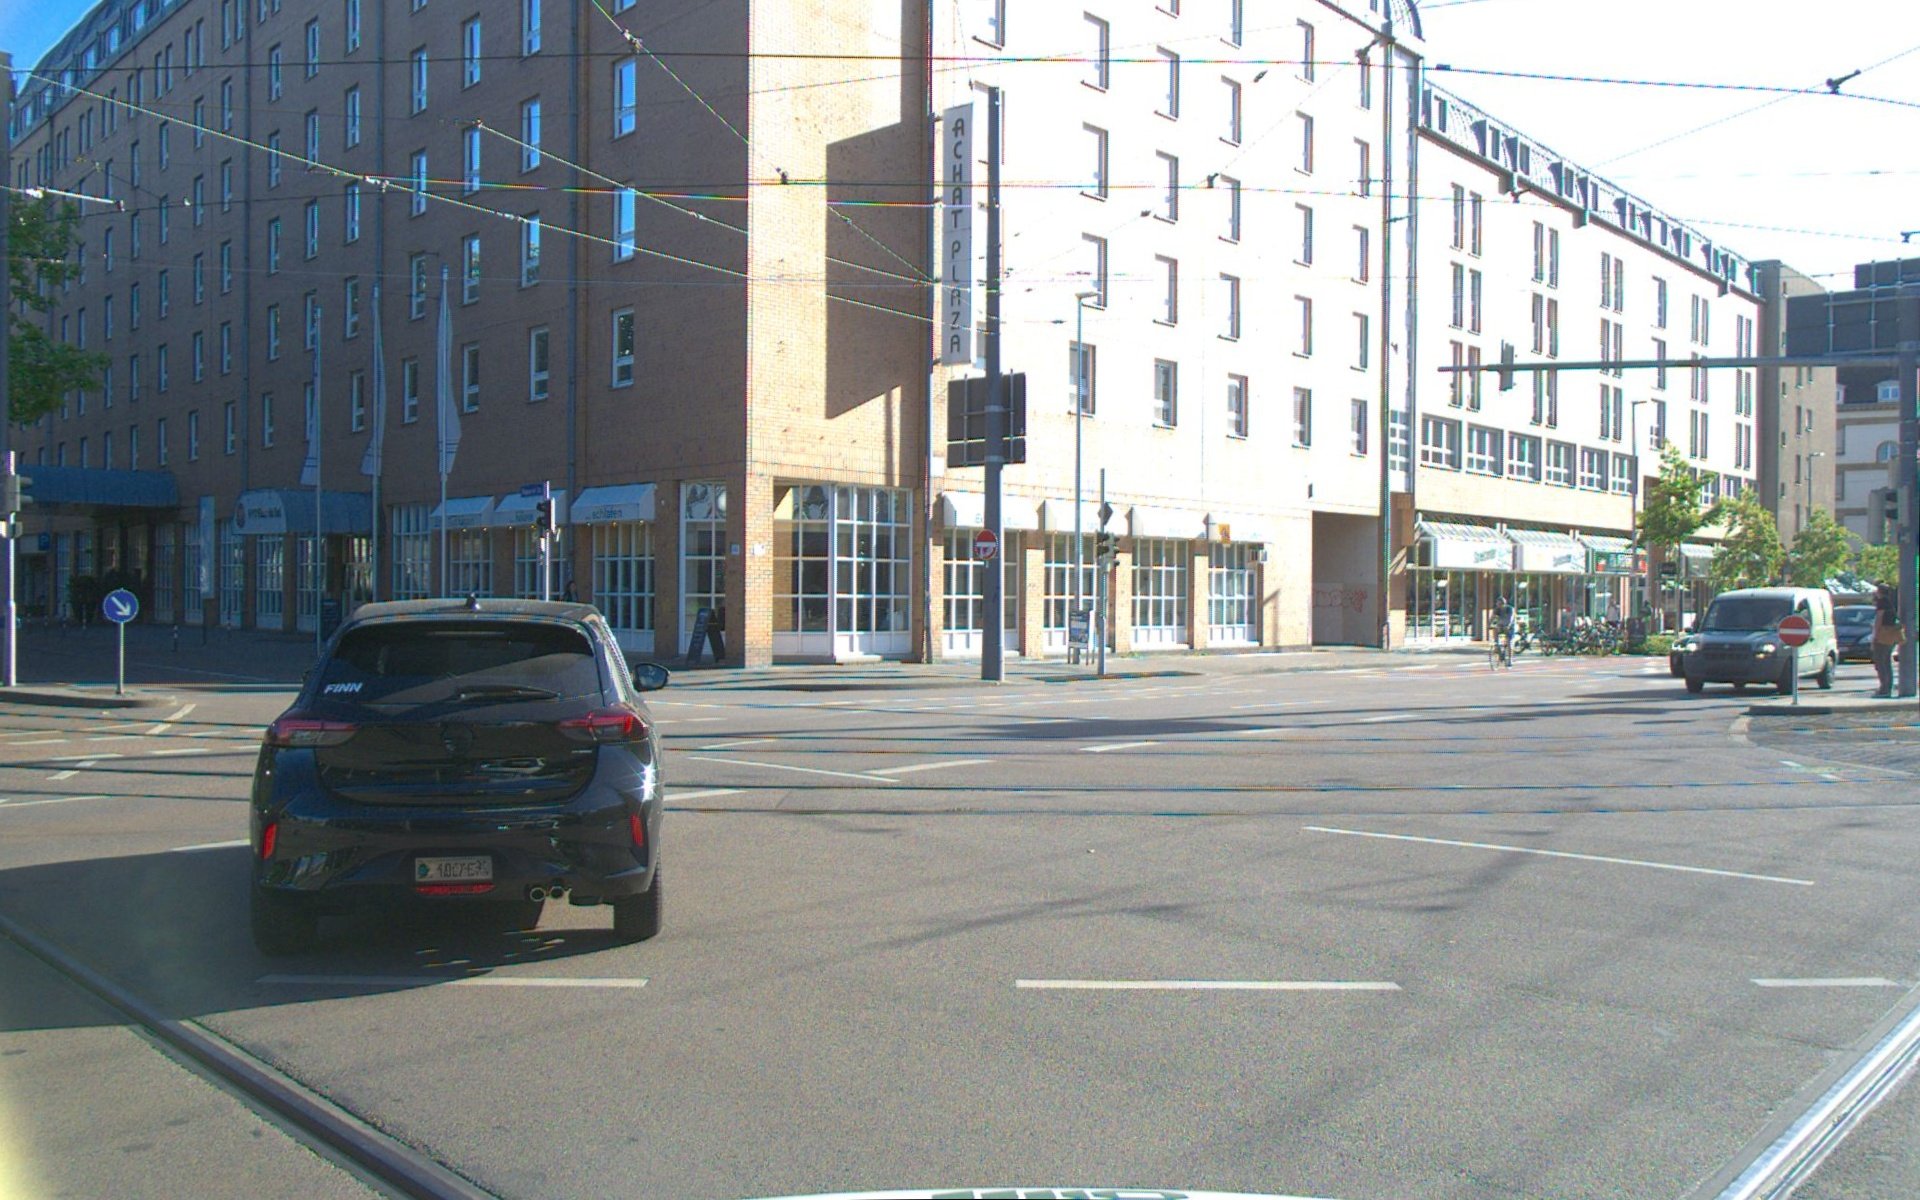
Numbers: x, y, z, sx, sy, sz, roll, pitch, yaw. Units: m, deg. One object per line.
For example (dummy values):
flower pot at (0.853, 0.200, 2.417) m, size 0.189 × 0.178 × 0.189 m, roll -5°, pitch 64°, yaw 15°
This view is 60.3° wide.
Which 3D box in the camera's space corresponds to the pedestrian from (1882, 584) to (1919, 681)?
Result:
pedestrian at (15.832, 0.532, 27.800) m, size 0.569 × 1.604 × 0.646 m, roll 0°, pitch 0°, yaw 28°

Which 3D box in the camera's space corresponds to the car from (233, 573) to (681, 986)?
car at (-2.306, 0.767, 8.165) m, size 1.643 × 1.528 × 3.678 m, roll -1°, pitch -3°, yaw -13°

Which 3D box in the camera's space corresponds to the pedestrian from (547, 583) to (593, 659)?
pedestrian at (-8.750, 0.459, 37.090) m, size 0.735 × 1.695 × 0.741 m, roll -1°, pitch 1°, yaw -43°

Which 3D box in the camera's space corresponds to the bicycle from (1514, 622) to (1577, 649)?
bicycle at (19.359, 1.162, 54.737) m, size 0.478 × 0.860 × 2.012 m, roll 0°, pitch 0°, yaw -38°

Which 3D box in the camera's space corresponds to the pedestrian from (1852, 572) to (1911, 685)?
pedestrian at (14.589, 0.445, 26.190) m, size 0.710 × 1.757 × 0.591 m, roll 0°, pitch 0°, yaw 42°

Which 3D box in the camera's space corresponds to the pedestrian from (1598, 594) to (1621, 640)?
pedestrian at (25.892, 0.679, 65.936) m, size 0.706 × 1.795 × 0.561 m, roll -1°, pitch -1°, yaw 44°

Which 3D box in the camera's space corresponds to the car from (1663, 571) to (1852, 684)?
car at (14.224, 0.470, 29.403) m, size 1.814 × 1.868 × 4.078 m, roll -2°, pitch -1°, yaw 44°

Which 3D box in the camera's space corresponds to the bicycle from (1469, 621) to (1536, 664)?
bicycle at (13.843, 1.065, 42.150) m, size 0.797 × 1.008 × 2.496 m, roll -1°, pitch 0°, yaw 39°

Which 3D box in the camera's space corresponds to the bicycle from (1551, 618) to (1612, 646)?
bicycle at (21.337, 1.094, 56.852) m, size 0.478 × 0.937 × 2.012 m, roll 0°, pitch 0°, yaw -38°

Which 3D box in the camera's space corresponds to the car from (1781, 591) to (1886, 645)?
car at (24.915, 0.501, 47.118) m, size 1.810 × 1.474 × 4.276 m, roll -2°, pitch -1°, yaw 39°

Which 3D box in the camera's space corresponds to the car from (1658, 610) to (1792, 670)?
car at (17.626, 0.899, 38.026) m, size 1.810 × 1.291 × 4.209 m, roll -2°, pitch -1°, yaw 39°

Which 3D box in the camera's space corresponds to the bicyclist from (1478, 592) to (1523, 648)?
bicyclist at (13.727, 0.507, 42.017) m, size 0.797 × 1.401 × 0.921 m, roll -1°, pitch 0°, yaw 40°

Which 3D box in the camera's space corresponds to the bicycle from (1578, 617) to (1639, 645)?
bicycle at (22.472, 1.080, 57.304) m, size 0.478 × 0.937 × 2.012 m, roll 0°, pitch 0°, yaw -38°

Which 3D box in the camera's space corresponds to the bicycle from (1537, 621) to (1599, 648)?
bicycle at (20.481, 1.149, 55.766) m, size 0.478 × 0.860 × 2.012 m, roll 0°, pitch 0°, yaw -38°
